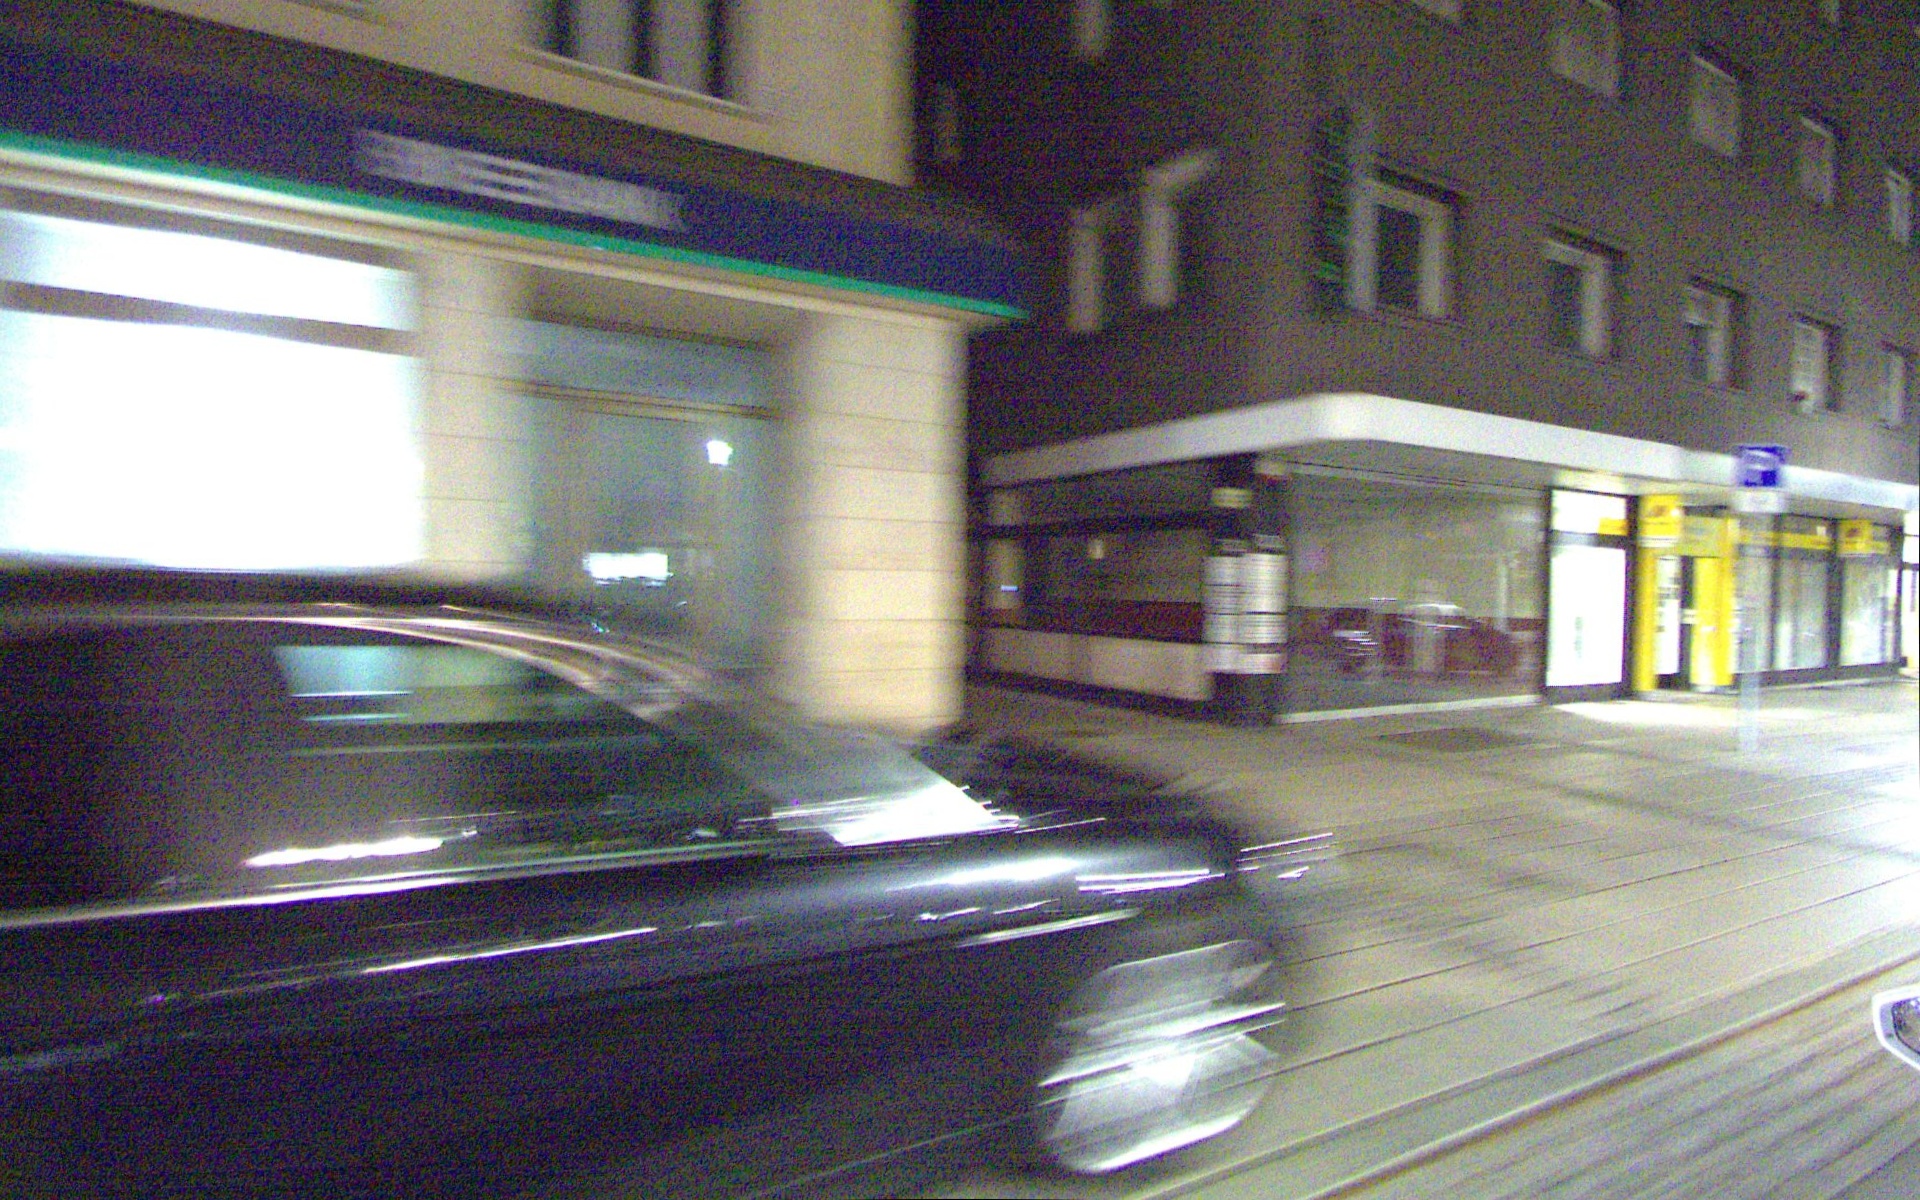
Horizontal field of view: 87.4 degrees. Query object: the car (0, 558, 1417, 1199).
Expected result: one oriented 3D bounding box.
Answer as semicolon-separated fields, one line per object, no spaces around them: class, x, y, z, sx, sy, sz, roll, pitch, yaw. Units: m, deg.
car;-1.134;0.678;2.369;4.573;1.484;1.834;1;2;-33
